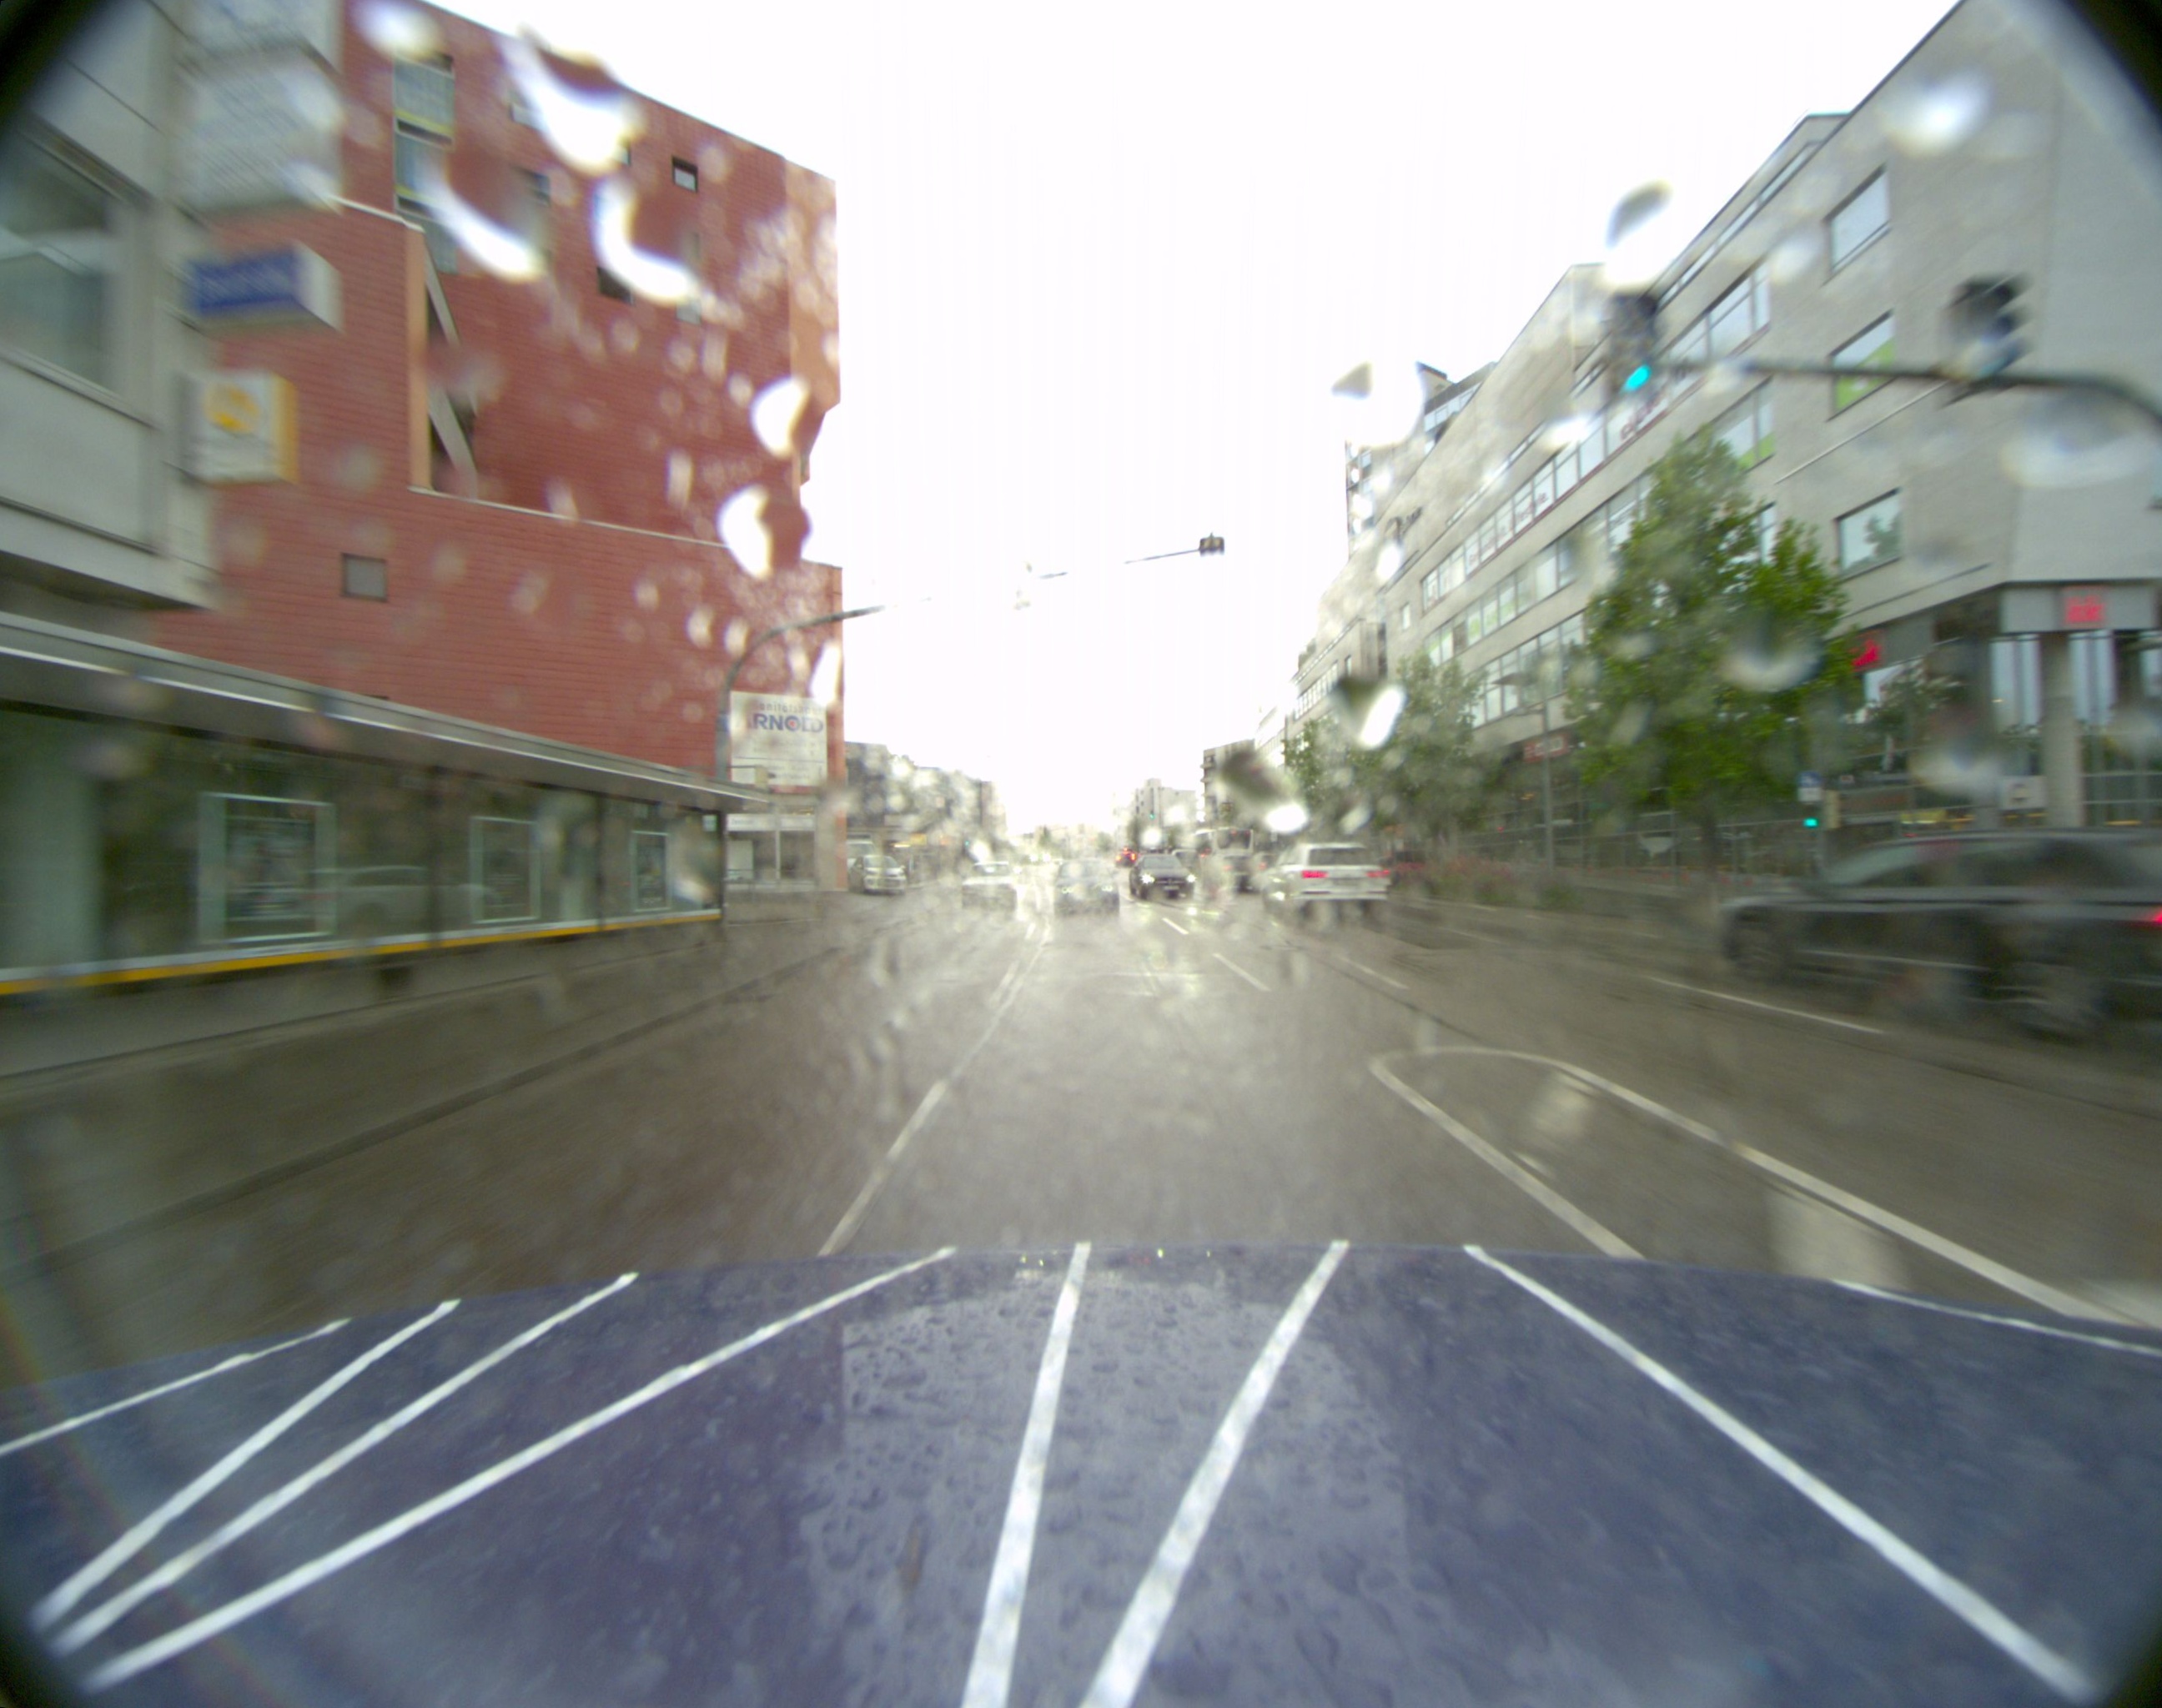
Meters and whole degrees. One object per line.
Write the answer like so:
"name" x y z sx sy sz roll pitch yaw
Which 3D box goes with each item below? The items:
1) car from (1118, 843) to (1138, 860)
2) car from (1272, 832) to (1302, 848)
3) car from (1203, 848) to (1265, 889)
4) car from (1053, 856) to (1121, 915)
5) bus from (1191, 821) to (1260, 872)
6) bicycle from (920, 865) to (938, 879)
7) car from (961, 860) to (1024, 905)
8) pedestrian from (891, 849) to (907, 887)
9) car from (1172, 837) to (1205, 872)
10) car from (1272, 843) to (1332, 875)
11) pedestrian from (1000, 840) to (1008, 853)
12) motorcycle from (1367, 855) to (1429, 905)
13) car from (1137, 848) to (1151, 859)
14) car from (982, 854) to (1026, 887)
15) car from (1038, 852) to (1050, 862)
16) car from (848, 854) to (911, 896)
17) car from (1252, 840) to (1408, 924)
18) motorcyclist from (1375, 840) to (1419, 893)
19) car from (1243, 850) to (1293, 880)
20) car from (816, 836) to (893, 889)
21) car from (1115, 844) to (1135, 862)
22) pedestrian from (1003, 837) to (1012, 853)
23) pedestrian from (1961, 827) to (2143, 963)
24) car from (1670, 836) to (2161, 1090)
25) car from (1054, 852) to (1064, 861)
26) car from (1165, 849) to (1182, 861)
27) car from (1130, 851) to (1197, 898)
"car" 4.405 -0.259 71.303 1.711 1.508 4.391 -1 1 1
"car" 18.645 -1.283 68.892 1.757 1.402 3.730 -1 1 2
"car" 5.850 0.521 29.572 1.762 1.426 4.381 -1 1 3
"car" 0.143 0.816 21.341 1.688 1.373 3.793 -2 1 0
"bus" 9.724 -0.551 52.593 2.899 3.081 11.998 -1 1 2
"bicycle" -10.748 1.251 53.647 0.532 0.932 1.572 1 0 -39
"car" -2.942 0.920 25.910 1.662 1.300 3.994 -1 1 0
"pedestrian" -8.352 0.638 34.942 0.594 1.756 0.600 -1 0 -5
"car" 6.473 0.015 46.029 1.637 2.002 4.285 -1 1 3
"car" 11.618 0.208 40.273 1.998 1.587 3.999 -1 1 0
"pedestrian" -8.452 -0.857 83.786 0.687 1.372 0.772 2 2 7
"motorcycle" 8.893 0.691 21.411 0.909 1.276 2.185 -1 1 2
"car" 7.942 -0.081 96.082 1.569 1.367 3.282 0 1 2
"car" -4.300 0.892 43.059 2.058 1.638 4.479 -1 1 -1
"car" -4.656 0.371 96.164 1.326 1.178 2.823 -1 1 2
"car" -7.818 0.745 29.278 1.618 1.453 3.416 -1 1 -28
"car" 5.667 0.533 18.034 2.104 1.702 4.848 -1 1 0
"motorcyclist" 8.891 0.327 21.400 0.787 1.448 1.140 -1 1 2
"car" 9.071 0.498 37.128 1.644 1.330 3.601 -1 1 1
"car" -10.475 0.470 34.887 2.011 2.195 4.864 1 -3 -34
"car" 4.553 -0.113 78.956 1.867 1.780 3.999 1 1 0
"pedestrian" -8.237 -1.010 85.162 0.687 1.793 0.797 2 2 7
"pedestrian" 13.461 0.531 10.589 0.927 1.778 1.233 -1 1 0
"car" 8.104 0.657 6.909 2.005 1.608 4.949 -1 1 5
"car" -3.169 0.347 111.613 1.394 1.316 2.861 -1 1 0
"car" 11.580 0.132 95.328 1.635 1.338 4.705 0 1 2
"car" 2.776 0.648 26.458 1.720 1.442 4.196 -1 1 -2
